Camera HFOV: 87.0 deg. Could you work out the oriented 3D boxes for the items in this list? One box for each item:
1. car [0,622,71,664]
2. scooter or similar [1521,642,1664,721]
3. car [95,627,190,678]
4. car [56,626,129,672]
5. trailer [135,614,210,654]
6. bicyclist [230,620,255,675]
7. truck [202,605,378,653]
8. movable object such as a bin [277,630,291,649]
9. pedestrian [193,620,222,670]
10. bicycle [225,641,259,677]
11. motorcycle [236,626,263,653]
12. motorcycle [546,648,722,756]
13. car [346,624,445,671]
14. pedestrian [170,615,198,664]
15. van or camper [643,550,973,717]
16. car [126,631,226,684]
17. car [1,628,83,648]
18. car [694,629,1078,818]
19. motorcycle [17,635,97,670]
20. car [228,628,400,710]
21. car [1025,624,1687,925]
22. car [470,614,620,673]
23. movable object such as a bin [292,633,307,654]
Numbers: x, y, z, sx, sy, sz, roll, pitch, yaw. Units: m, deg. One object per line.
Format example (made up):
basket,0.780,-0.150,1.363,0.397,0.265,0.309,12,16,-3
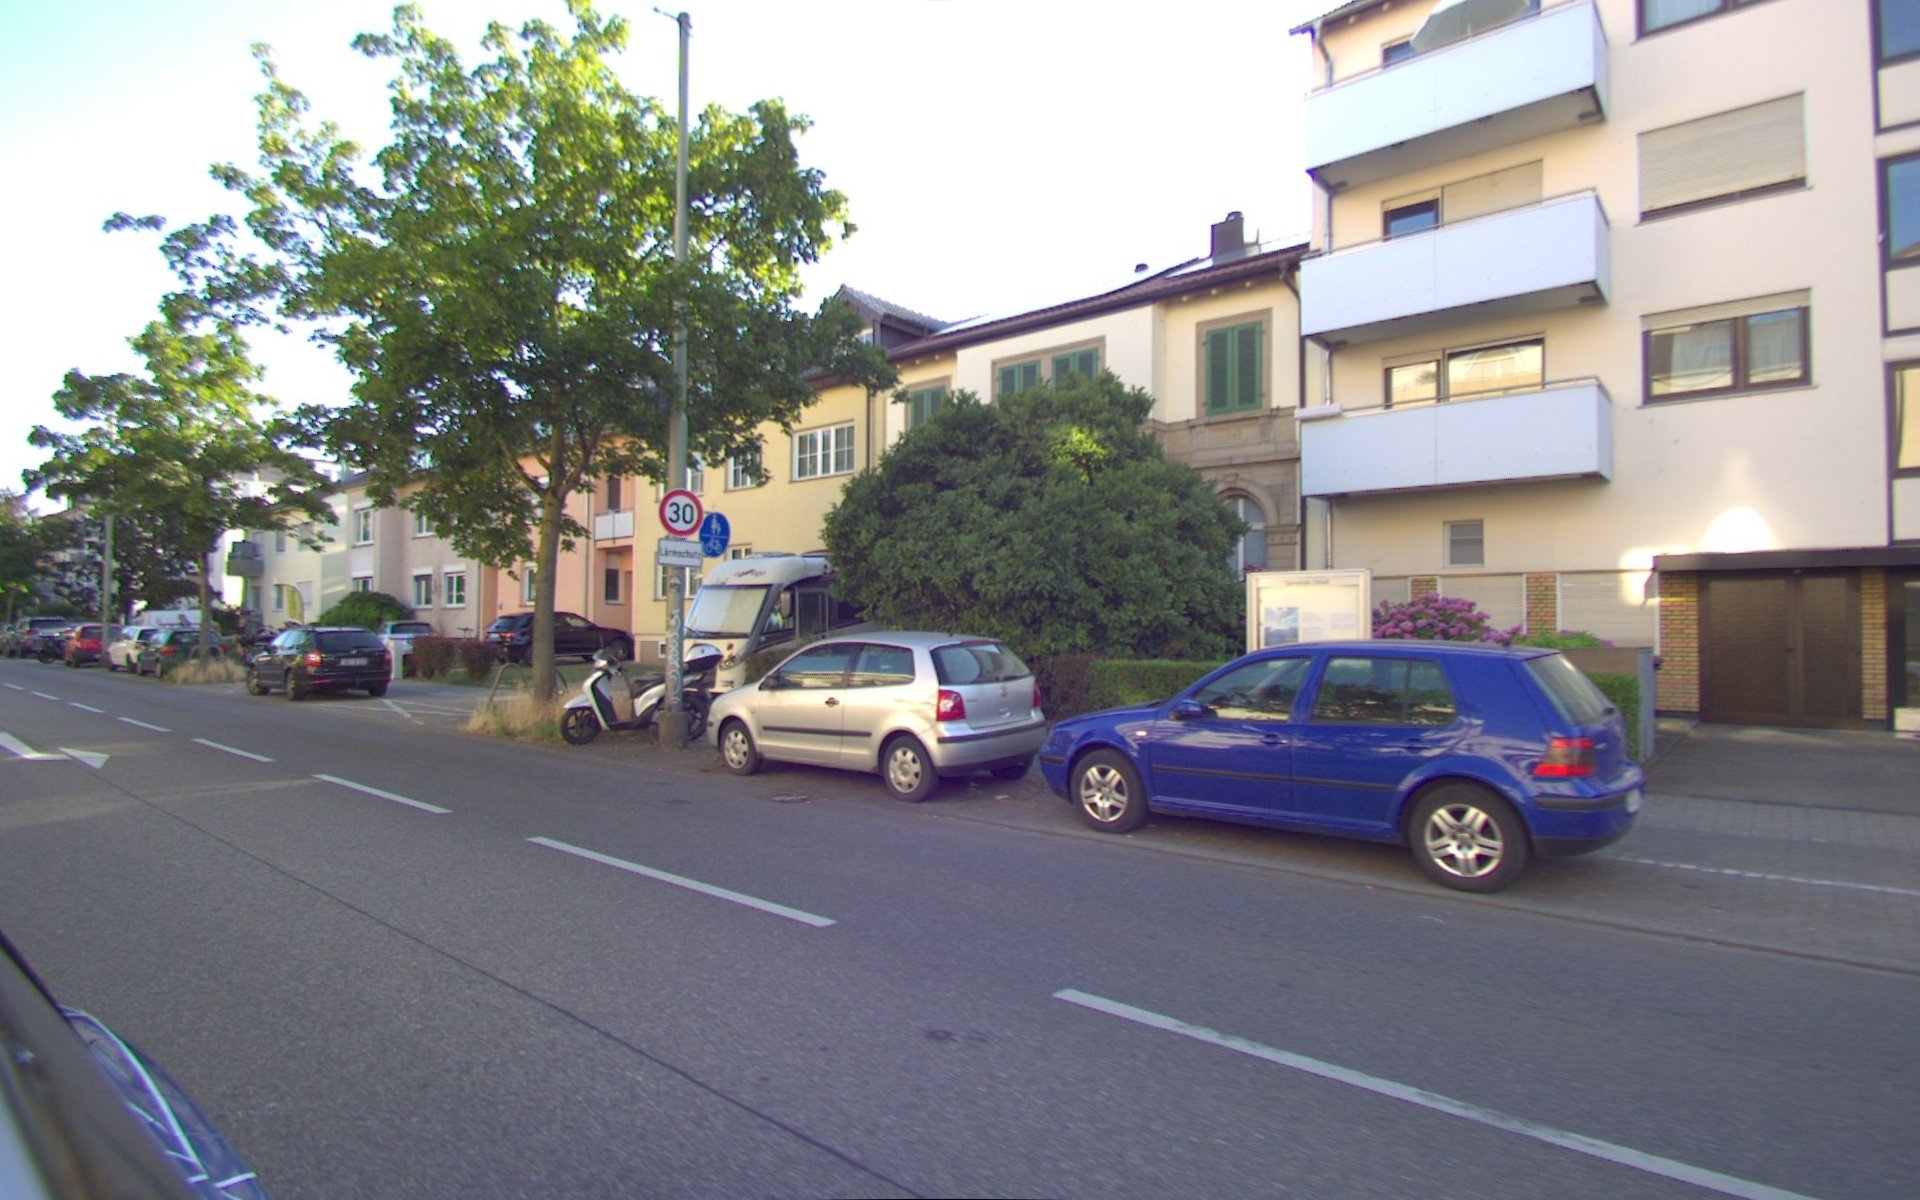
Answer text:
car,-41.629,1.907,45.379,4.721,1.793,1.868,-1,-2,39
scooter or similar,9.414,1.195,15.118,1.766,1.104,0.380,-1,-3,40
car,-26.226,1.648,32.437,3.887,1.535,1.577,-1,-2,39
car,-30.870,1.709,35.990,3.436,1.535,1.575,-2,-3,43
trailer,-40.902,1.786,52.582,1.550,2.029,2.746,-1,-3,38
bicyclist,-22.293,1.478,31.434,0.552,1.676,0.464,-2,-3,40
truck,-32.851,1.445,49.863,2.275,2.202,6.824,-1,-2,40
movable object such as a bin,-35.431,2.067,53.054,0.449,1.026,0.498,-1,-3,39
pedestrian,-27.192,1.618,36.553,0.572,1.806,0.706,-2,-3,43
bicycle,-22.334,1.815,31.469,1.533,1.072,0.481,-1,-2,40
motorcycle,-37.829,2.094,53.900,2.257,1.384,0.564,-1,-4,40
motorcycle,-4.047,1.257,12.724,2.021,1.274,0.769,1,-2,-11
car,-18.276,1.517,32.705,3.751,1.420,1.647,-2,-3,42
pedestrian,-29.200,1.492,38.071,0.506,1.806,0.706,-2,-3,43
van or camper,-2.750,0.537,20.350,2.350,2.793,6.730,-1,0,39
car,-22.505,1.611,29.027,3.663,1.407,1.527,-1,-2,40
car,-73.307,2.978,80.883,1.734,1.416,4.517,-1,0,30
car,-0.858,1.056,10.082,3.801,1.481,1.577,-1,0,41
motorcycle,-34.307,1.971,38.456,2.349,1.276,1.176,0,-2,17
car,-13.649,1.366,21.278,4.514,1.506,1.848,-1,-1,41
car,2.579,0.952,7.196,4.071,1.529,1.632,-1,-1,41
car,-12.983,1.329,31.793,1.865,1.648,3.945,-2,0,41
movable object such as a bin,-33.833,2.225,51.825,0.449,1.026,0.498,-1,-3,39
